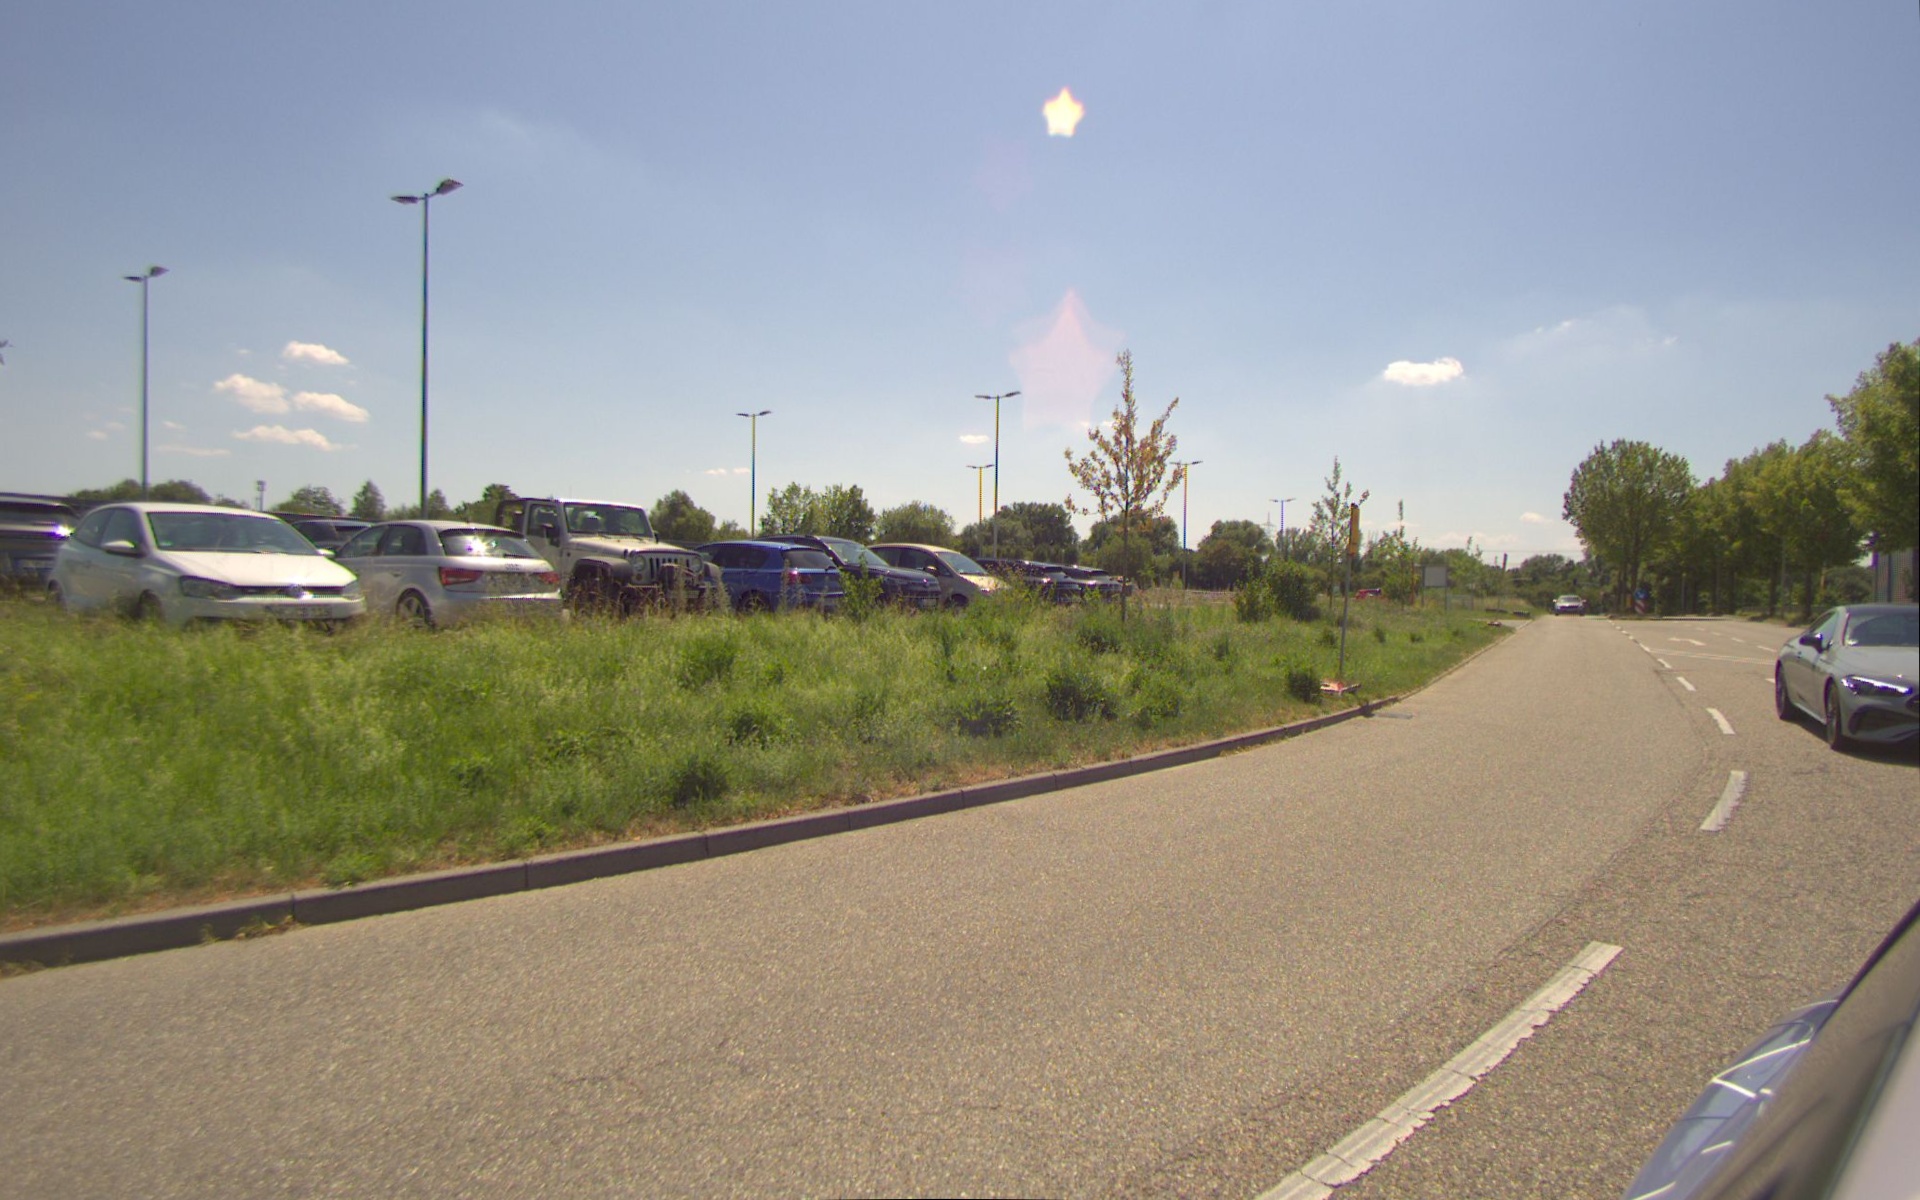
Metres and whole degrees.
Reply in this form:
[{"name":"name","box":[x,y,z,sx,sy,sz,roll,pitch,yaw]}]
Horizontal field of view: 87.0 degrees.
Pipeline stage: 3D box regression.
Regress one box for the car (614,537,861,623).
[{"name":"car","box":[-3.662,-0.364,16.542,3.912,1.273,1.570,1,3,29]}]

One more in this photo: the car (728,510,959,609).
[{"name":"car","box":[-2.188,-0.689,18.691,4.004,1.448,1.670,-4,-1,30]}]

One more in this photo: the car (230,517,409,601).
[{"name":"car","box":[-13.476,-0.876,21.260,3.610,1.617,1.750,3,2,31]}]

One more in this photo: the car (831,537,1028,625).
[{"name":"car","box":[-0.665,-0.439,21.042,3.817,1.644,1.600,3,2,30]}]

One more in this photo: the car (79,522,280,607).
[{"name":"car","box":[-14.281,-0.680,18.475,3.818,1.379,1.635,3,2,31]}]

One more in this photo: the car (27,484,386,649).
[{"name":"car","box":[-7.358,-0.337,9.789,3.850,1.313,1.557,1,3,33]}]

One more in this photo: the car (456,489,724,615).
[{"name":"car","box":[-5.276,-0.669,14.298,3.728,1.546,1.852,2,3,37]}]

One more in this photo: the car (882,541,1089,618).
[{"name":"car","box":[0.534,-0.501,22.901,4.368,1.564,1.795,3,2,31]}]

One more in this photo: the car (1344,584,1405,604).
[{"name":"car","box":[30.315,-0.424,73.991,3.963,1.368,1.631,-1,1,29]}]

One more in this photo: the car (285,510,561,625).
[{"name":"car","box":[-6.414,-0.402,12.036,3.246,1.196,1.485,1,3,32]}]

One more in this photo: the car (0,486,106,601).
[{"name":"car","box":[-15.996,-0.850,16.522,4.566,1.712,1.758,0,0,31]}]

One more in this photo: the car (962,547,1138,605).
[{"name":"car","box":[2.228,-0.576,25.251,3.971,1.308,1.887,-1,1,33]}]

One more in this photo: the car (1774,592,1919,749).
[{"name":"car","box":[10.173,0.630,10.695,1.884,1.401,4.580,0,0,32]}]

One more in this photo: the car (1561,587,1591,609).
[{"name":"car","box":[43.358,-0.151,71.191,1.661,1.392,4.445,-2,0,32]}]

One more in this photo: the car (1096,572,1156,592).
[{"name":"car","box":[11.861,-1.282,72.267,3.963,1.368,1.631,-1,1,29]}]

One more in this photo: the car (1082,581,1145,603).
[{"name":"car","box":[10.594,-0.573,69.851,3.964,1.368,1.631,3,2,28]}]
